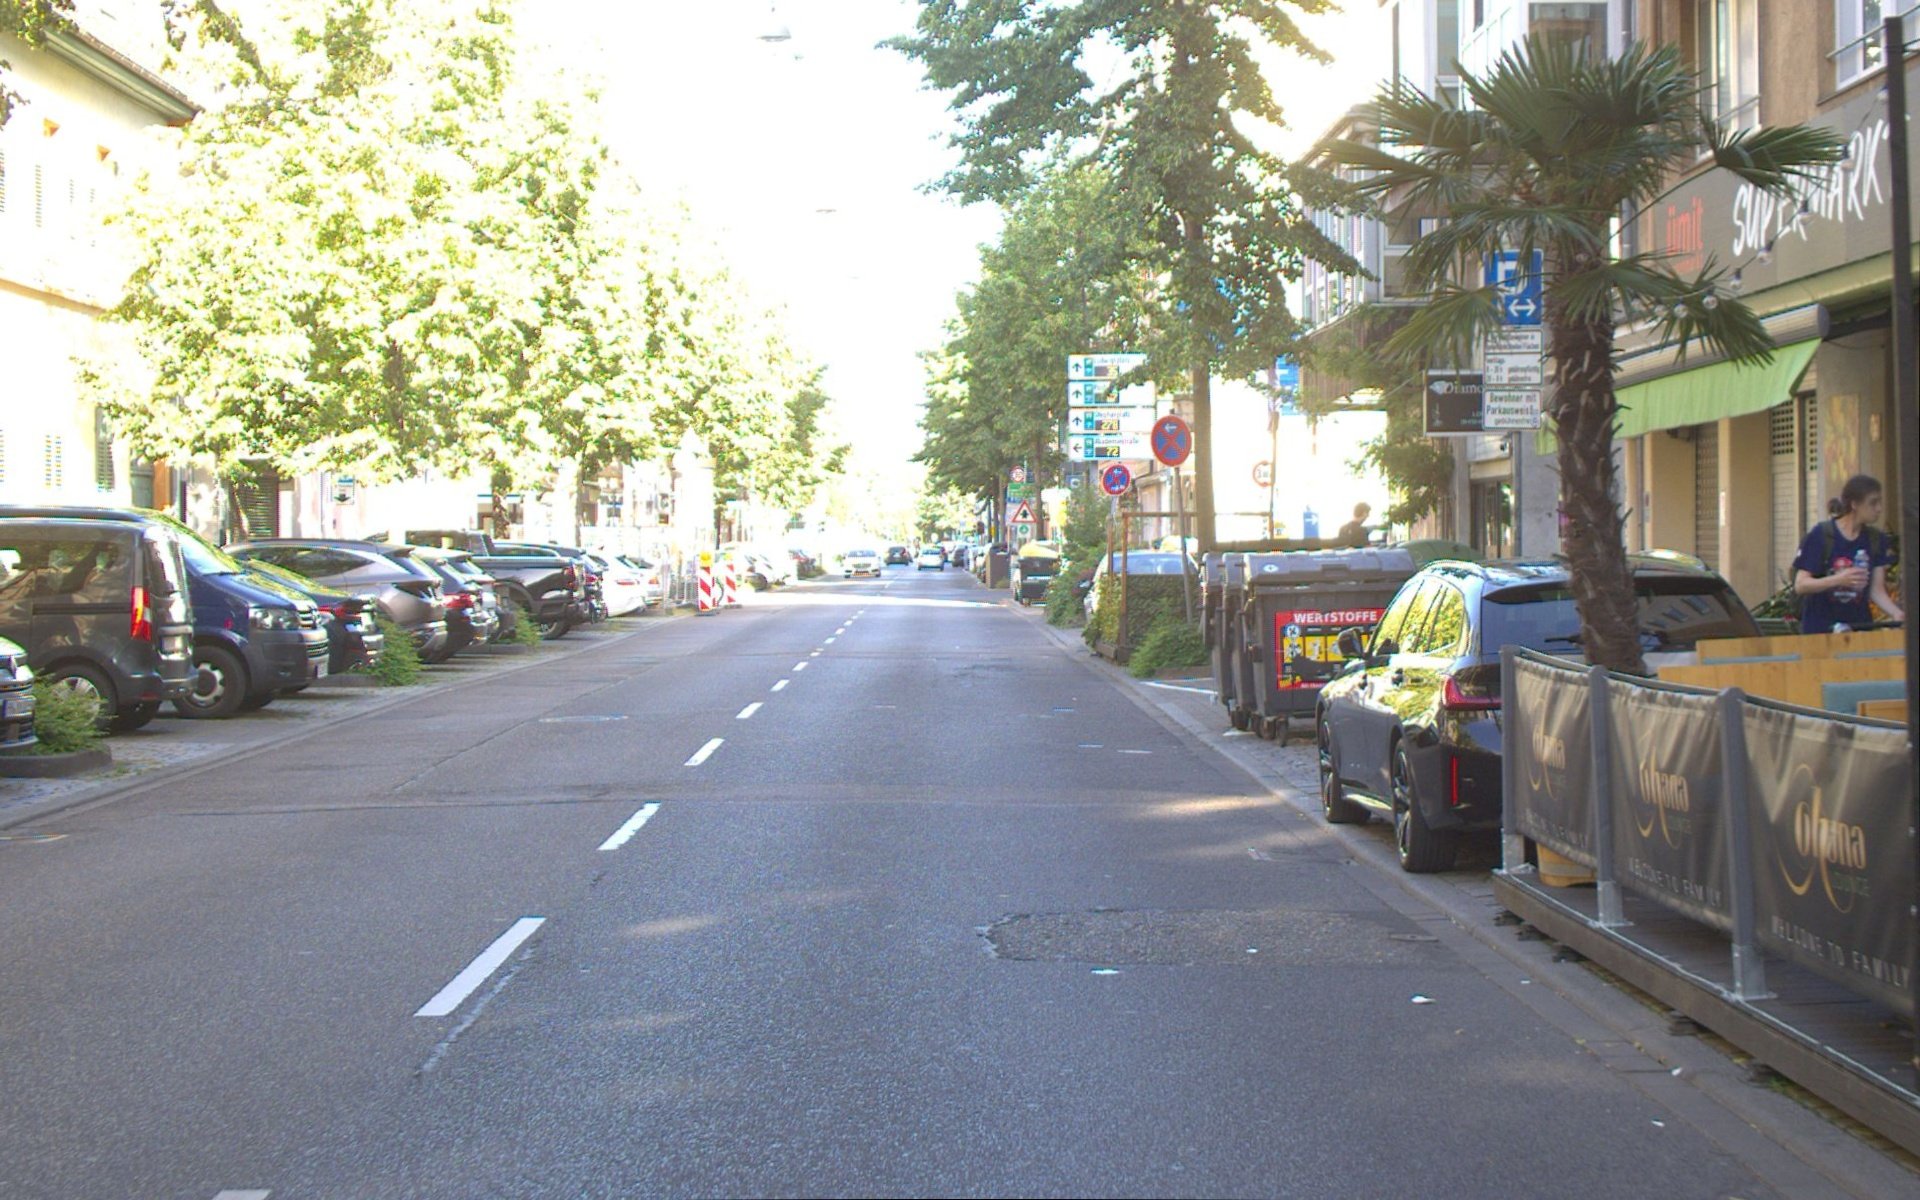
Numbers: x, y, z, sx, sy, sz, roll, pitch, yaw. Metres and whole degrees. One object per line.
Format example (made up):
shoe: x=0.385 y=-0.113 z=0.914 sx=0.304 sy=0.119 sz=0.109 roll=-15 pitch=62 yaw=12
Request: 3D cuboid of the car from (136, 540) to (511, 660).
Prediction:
car: x=-8.507 y=-0.014 z=46.178 sx=4.680 sy=1.566 sz=1.808 roll=0 pitch=1 yaw=1

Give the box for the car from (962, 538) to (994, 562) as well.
car: x=1.163 y=-3.236 z=223.666 sx=1.993 sy=1.503 sz=4.000 roll=0 pitch=0 yaw=-1

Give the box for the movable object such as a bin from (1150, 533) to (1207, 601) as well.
movable object such as a bin: x=5.331 y=-0.810 z=83.906 sx=1.205 sy=1.622 sz=1.498 roll=-1 pitch=1 yaw=-2

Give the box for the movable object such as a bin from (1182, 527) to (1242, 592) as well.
movable object such as a bin: x=6.046 y=-0.972 z=82.536 sx=1.270 sy=1.525 sz=1.177 roll=-1 pitch=1 yaw=-2

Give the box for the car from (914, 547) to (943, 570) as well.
car: x=-2.020 y=-2.665 z=220.460 sx=1.792 sy=1.406 sz=4.000 roll=-1 pitch=1 yaw=-1

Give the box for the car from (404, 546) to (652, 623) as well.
car: x=-8.372 y=-0.317 z=66.962 sx=4.680 sy=1.460 sz=1.808 roll=0 pitch=1 yaw=-3

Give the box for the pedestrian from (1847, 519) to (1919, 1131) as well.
pedestrian: x=2.707 y=0.555 z=8.636 sx=0.650 sy=1.531 sz=0.980 roll=-1 pitch=1 yaw=-2

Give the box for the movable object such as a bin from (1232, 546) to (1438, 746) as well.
movable object such as a bin: x=2.816 y=0.330 z=25.947 sx=1.399 sy=1.449 sz=1.146 roll=-1 pitch=1 yaw=0

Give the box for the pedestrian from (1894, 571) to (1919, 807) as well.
pedestrian: x=4.959 y=0.434 z=17.069 sx=0.444 sy=1.159 sz=0.500 roll=-1 pitch=1 yaw=37

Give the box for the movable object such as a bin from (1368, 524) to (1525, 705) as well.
movable object such as a bin: x=3.983 y=0.104 z=28.276 sx=1.077 sy=1.426 sz=1.295 roll=-1 pitch=1 yaw=0

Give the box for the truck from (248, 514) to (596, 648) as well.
truck: x=-8.346 y=-0.310 z=53.667 sx=5.084 sy=1.931 sz=2.000 roll=-1 pitch=1 yaw=-1

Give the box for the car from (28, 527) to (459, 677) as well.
car: x=-8.399 y=0.009 z=40.557 sx=4.680 sy=1.706 sz=1.808 roll=0 pitch=1 yaw=1

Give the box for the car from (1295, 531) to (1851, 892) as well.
car: x=2.902 y=0.441 z=17.387 sx=1.822 sy=1.467 sz=4.912 roll=-3 pitch=1 yaw=0

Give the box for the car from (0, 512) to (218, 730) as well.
car: x=-8.687 y=0.164 z=28.899 sx=4.466 sy=1.766 sz=1.916 roll=0 pitch=1 yaw=1

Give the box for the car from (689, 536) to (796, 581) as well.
car: x=-8.676 y=-1.660 z=137.404 sx=3.987 sy=1.688 sz=2.000 roll=-1 pitch=1 yaw=4

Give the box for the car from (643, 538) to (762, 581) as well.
car: x=-8.877 y=-1.401 z=118.704 sx=3.987 sy=1.385 sz=2.000 roll=-1 pitch=1 yaw=-1

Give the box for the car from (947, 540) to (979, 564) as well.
car: x=0.185 y=-3.085 z=219.277 sx=1.822 sy=1.386 sz=4.301 roll=-3 pitch=1 yaw=-1

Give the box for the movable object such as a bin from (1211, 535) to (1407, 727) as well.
movable object such as a bin: x=2.735 y=0.230 z=27.109 sx=1.399 sy=1.449 sz=1.146 roll=-1 pitch=1 yaw=0

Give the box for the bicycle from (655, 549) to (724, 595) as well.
bicycle: x=-7.361 y=-0.773 z=93.573 sx=1.854 sy=1.248 sz=0.600 roll=0 pitch=1 yaw=-8

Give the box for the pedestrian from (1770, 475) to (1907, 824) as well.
pedestrian: x=4.365 y=0.237 z=17.077 sx=0.617 sy=1.690 sz=0.761 roll=-1 pitch=1 yaw=15

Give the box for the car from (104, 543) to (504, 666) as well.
car: x=-8.228 y=0.043 z=43.373 sx=4.680 sy=1.514 sz=1.808 roll=0 pitch=1 yaw=1

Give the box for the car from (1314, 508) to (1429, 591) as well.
car: x=8.537 y=-1.064 z=71.671 sx=1.901 sy=1.642 sz=4.293 roll=-1 pitch=1 yaw=1

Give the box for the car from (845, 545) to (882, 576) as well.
car: x=-4.862 y=-2.015 z=173.439 sx=1.802 sy=1.430 sz=4.410 roll=-3 pitch=1 yaw=-1

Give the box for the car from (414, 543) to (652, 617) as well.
car: x=-8.623 y=-0.419 z=69.710 sx=4.680 sy=1.460 sz=1.808 roll=0 pitch=1 yaw=-3

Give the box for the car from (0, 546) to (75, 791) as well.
car: x=-8.222 y=0.429 z=22.234 sx=4.466 sy=1.535 sz=1.916 roll=0 pitch=1 yaw=3

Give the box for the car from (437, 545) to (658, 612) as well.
car: x=-8.962 y=-0.477 z=74.916 sx=4.680 sy=1.407 sz=1.808 roll=0 pitch=1 yaw=-3

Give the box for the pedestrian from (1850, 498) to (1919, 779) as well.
pedestrian: x=5.700 y=0.213 z=20.398 sx=0.616 sy=1.636 sz=0.762 roll=-1 pitch=1 yaw=0

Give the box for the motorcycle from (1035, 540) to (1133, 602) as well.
motorcycle: x=2.747 y=-0.654 z=76.136 sx=1.977 sy=1.325 sz=0.912 roll=-1 pitch=1 yaw=-12

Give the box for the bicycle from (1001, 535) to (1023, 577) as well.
bicycle: x=1.856 y=-1.583 z=122.630 sx=0.560 sy=1.436 sz=1.628 roll=-7 pitch=1 yaw=-1

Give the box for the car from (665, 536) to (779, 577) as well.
car: x=-8.601 y=-1.576 z=124.490 sx=3.987 sy=1.385 sz=2.000 roll=-1 pitch=1 yaw=-1

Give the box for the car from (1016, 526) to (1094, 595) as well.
car: x=2.474 y=-1.050 z=90.727 sx=1.822 sy=1.673 sz=4.601 roll=-3 pitch=1 yaw=0

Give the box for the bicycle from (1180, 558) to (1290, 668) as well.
bicycle: x=3.068 y=0.127 z=38.481 sx=0.607 sy=1.116 sz=2.056 roll=-8 pitch=2 yaw=-9

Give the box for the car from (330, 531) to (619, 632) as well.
car: x=-8.302 y=-0.322 z=59.054 sx=4.680 sy=1.687 sz=1.808 roll=0 pitch=1 yaw=1

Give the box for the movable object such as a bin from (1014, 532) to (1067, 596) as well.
movable object such as a bin: x=2.035 y=-0.919 z=86.469 sx=1.143 sy=1.556 sz=1.459 roll=-1 pitch=1 yaw=8

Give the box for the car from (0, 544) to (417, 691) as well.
car: x=-7.998 y=0.161 z=35.064 sx=4.645 sy=1.454 sz=1.684 roll=0 pitch=1 yaw=0

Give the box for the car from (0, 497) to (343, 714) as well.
car: x=-8.241 y=0.038 z=31.829 sx=4.680 sy=1.943 sz=1.916 roll=0 pitch=1 yaw=1

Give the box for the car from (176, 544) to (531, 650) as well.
car: x=-8.548 y=-0.054 z=48.707 sx=4.680 sy=1.458 sz=1.808 roll=0 pitch=1 yaw=1

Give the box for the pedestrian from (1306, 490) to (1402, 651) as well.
pedestrian: x=4.762 y=-0.358 z=41.514 sx=0.926 sy=1.929 sz=0.760 roll=-1 pitch=1 yaw=25

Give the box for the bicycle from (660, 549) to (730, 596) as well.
bicycle: x=-7.140 y=-0.731 z=92.560 sx=1.854 sy=1.248 sz=0.600 roll=0 pitch=1 yaw=-8

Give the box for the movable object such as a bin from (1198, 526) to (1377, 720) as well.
movable object such as a bin: x=2.676 y=0.174 z=28.272 sx=1.330 sy=1.537 sz=1.146 roll=-1 pitch=1 yaw=0
